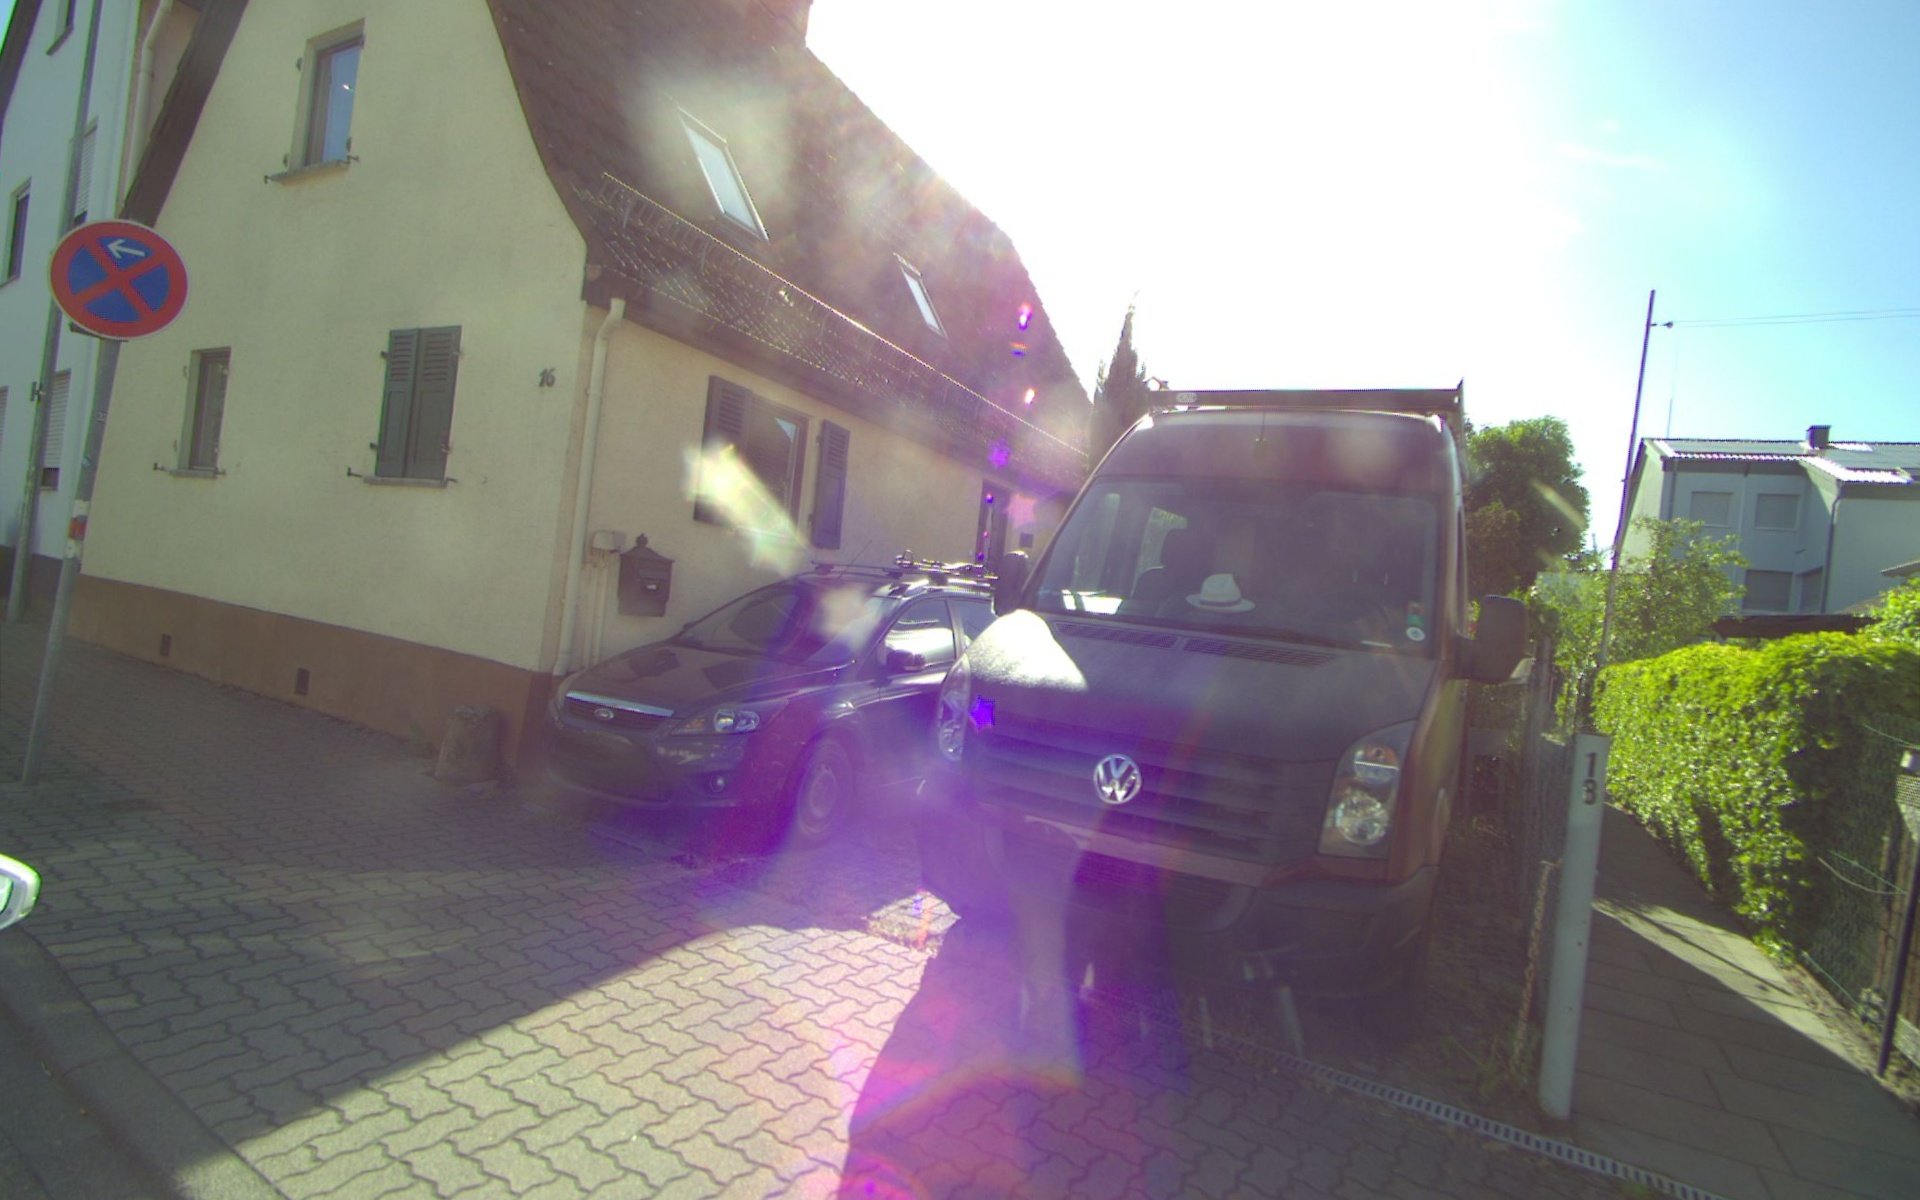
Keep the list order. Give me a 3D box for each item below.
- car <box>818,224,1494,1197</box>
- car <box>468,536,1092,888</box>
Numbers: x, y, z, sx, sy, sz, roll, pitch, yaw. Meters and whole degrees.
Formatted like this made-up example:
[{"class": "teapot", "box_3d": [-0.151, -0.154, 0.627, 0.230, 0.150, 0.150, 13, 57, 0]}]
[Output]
[{"class": "car", "box_3d": [1.759, 0.350, 5.801, 1.933, 2.689, 5.813, 6, 1, 27]}, {"class": "car", "box_3d": [-0.800, 0.584, 6.977, 1.808, 1.506, 4.379, 6, 1, 29]}]
